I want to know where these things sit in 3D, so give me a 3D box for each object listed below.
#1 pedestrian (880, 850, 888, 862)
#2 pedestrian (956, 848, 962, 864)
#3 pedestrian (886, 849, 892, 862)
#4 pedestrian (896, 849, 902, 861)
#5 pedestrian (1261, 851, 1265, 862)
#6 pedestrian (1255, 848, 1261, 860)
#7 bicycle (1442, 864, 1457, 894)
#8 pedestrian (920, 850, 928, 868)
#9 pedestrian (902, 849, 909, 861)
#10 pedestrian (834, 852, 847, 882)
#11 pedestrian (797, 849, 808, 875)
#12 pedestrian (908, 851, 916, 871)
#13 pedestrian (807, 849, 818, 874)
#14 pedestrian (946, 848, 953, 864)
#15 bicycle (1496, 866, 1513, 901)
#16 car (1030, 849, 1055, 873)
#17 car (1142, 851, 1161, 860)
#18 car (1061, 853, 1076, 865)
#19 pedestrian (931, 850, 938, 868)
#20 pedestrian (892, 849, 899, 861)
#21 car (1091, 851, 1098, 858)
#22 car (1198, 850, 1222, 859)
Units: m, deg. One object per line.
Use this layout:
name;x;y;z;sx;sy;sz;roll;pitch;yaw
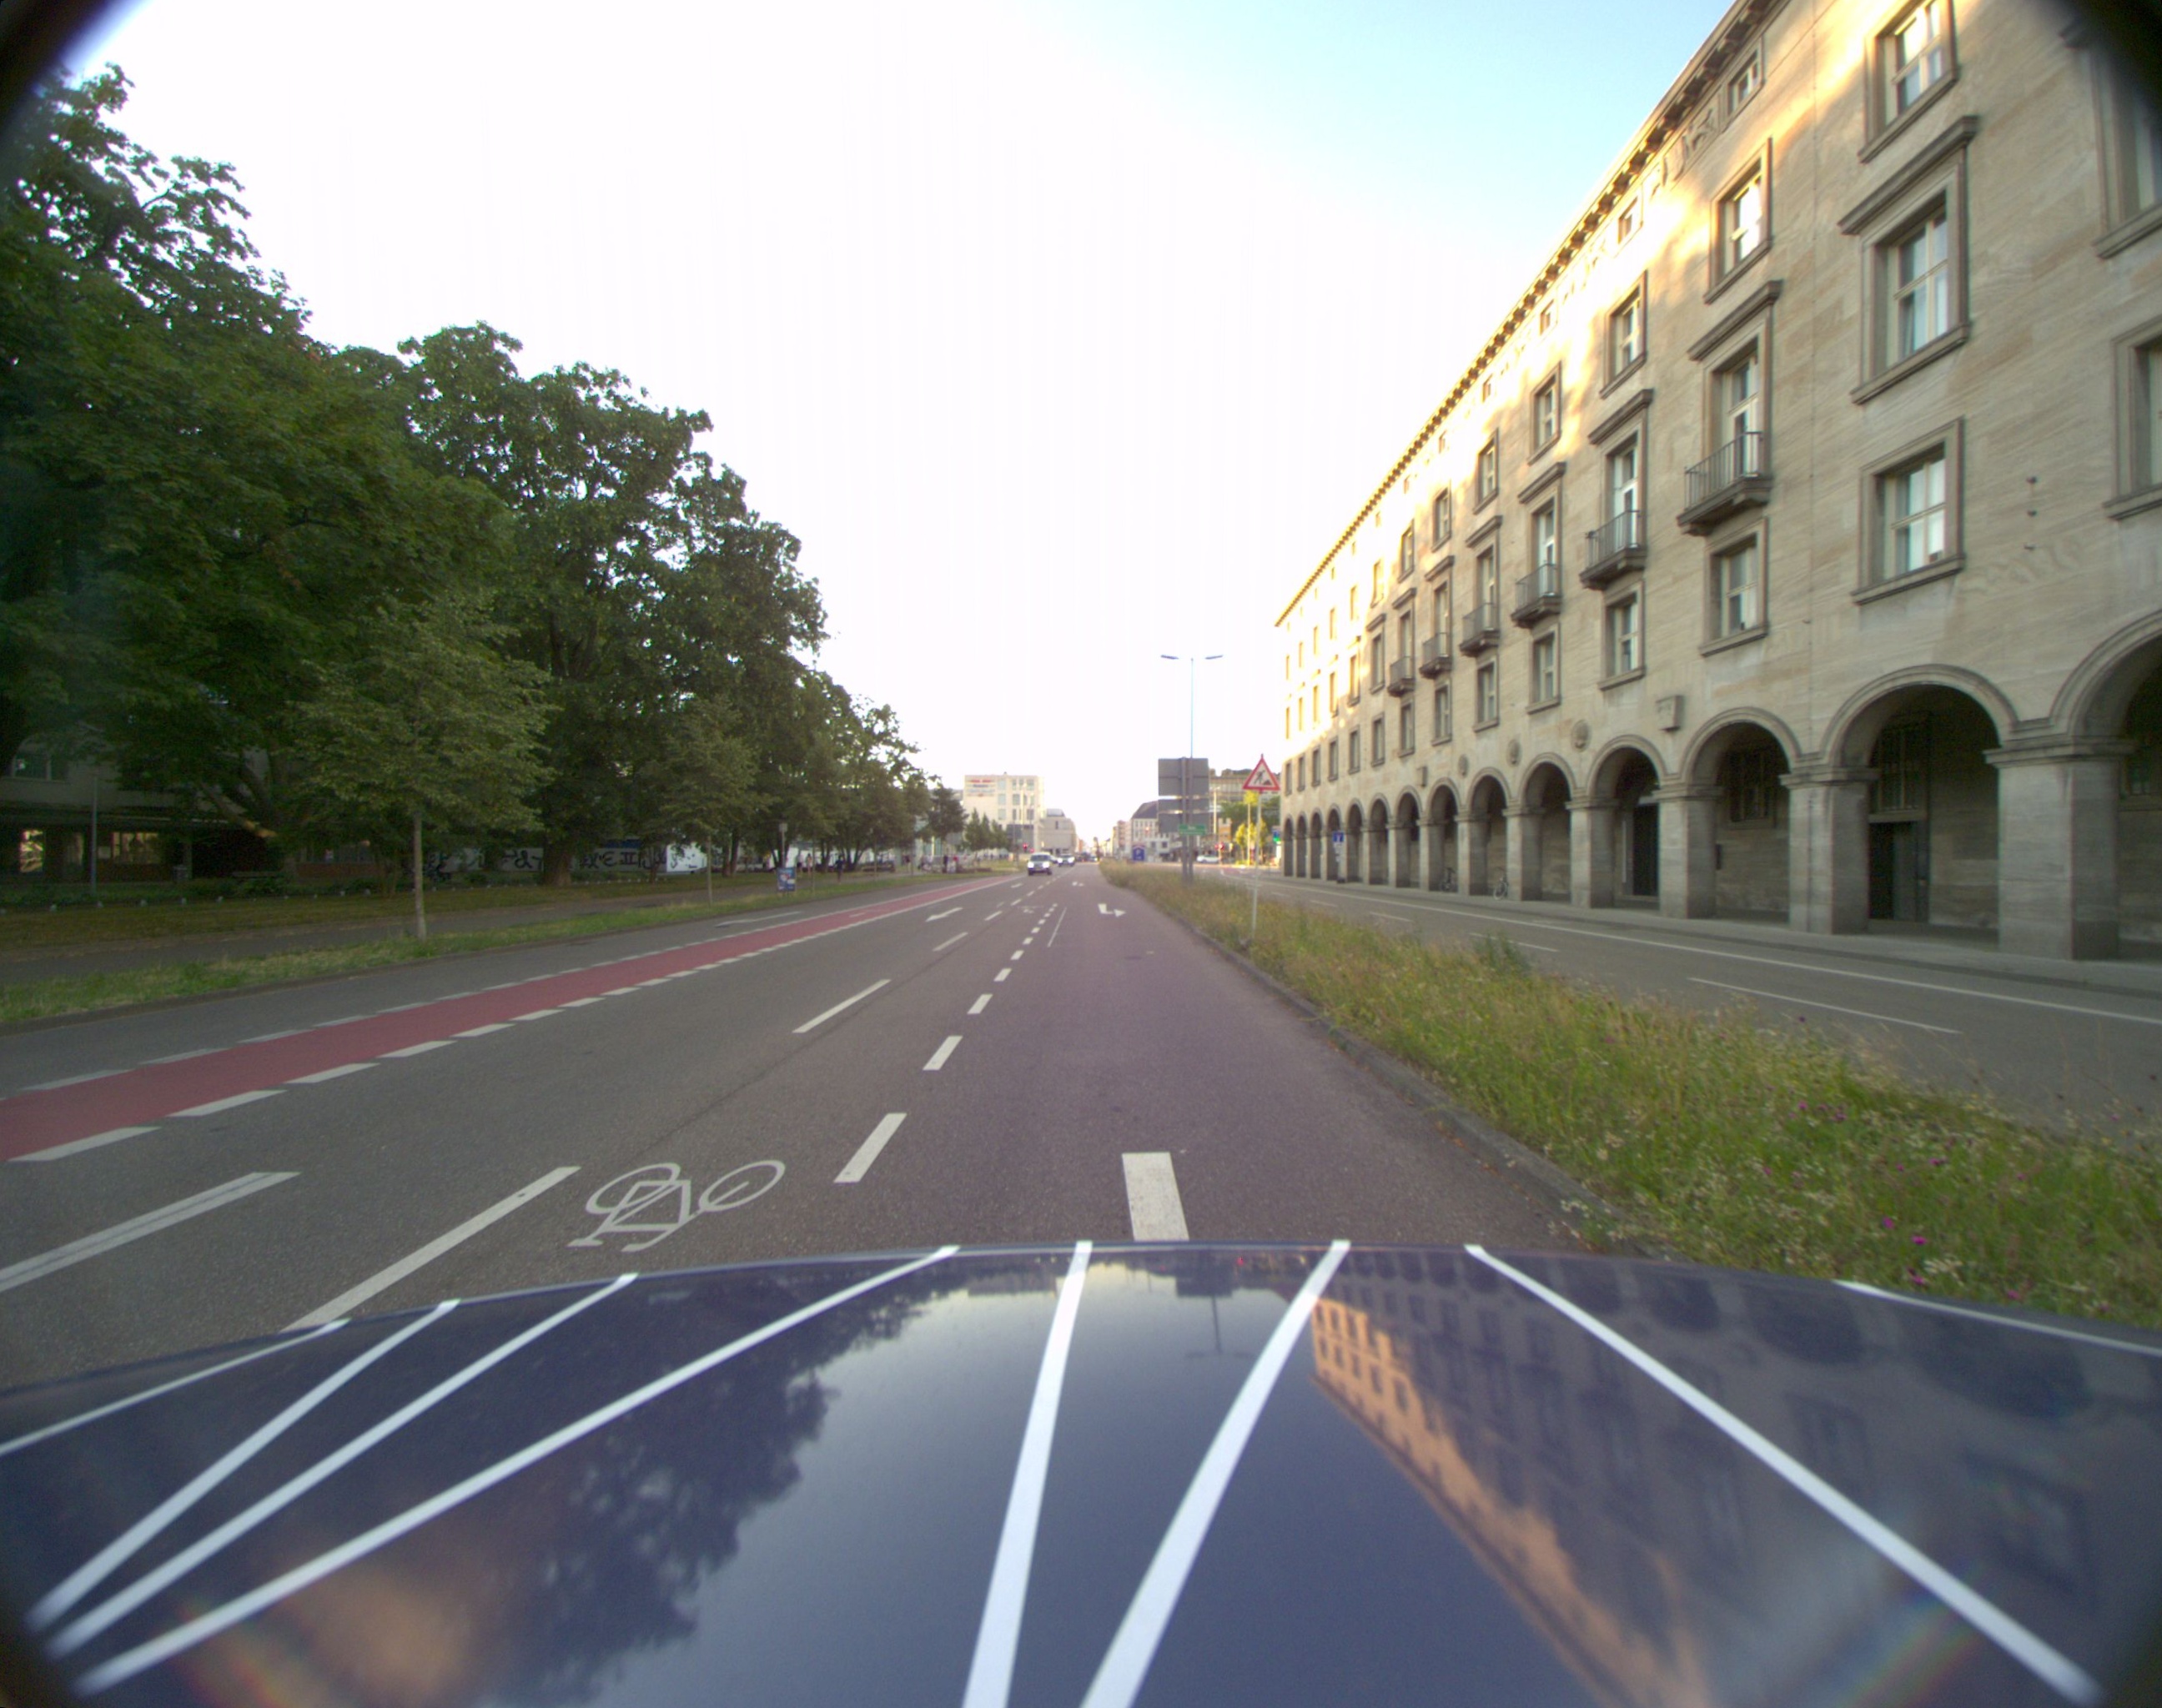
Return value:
pedestrian;-22.039;0.208;85.153;0.728;1.347;0.614;0;1;1
pedestrian;-13.497;0.213;84.070;0.638;1.747;0.506;0;1;1
pedestrian;-21.163;0.168;83.770;0.519;1.347;0.773;0;1;1
pedestrian;-20.129;0.125;83.980;0.519;1.347;0.773;0;1;1
pedestrian;25.313;0.403;105.625;0.526;1.532;0.390;0;1;1
pedestrian;24.618;0.023;105.723;0.638;1.747;0.506;0;1;1
bicycle;15.585;1.040;32.179;0.513;1.172;2.427;0;0;25
pedestrian;-14.920;0.497;72.211;0.519;1.720;0.719;0;1;1
pedestrian;-19.733;0.083;85.642;0.654;1.347;0.505;0;1;1
pedestrian;-13.777;0.725;43.602;0.558;1.729;0.555;0;1;1
pedestrian;-17.222;0.517;46.939;0.500;1.592;0.522;0;1;1
pedestrian;-14.966;0.603;67.317;0.509;1.720;0.719;0;1;1
pedestrian;-17.033;0.452;48.202;0.500;1.592;0.365;0;1;1
pedestrian;-14.597;0.178;84.206;0.638;1.747;0.506;0;1;1
bicycle;15.357;1.048;27.529;0.513;1.115;2.427;0;1;30
car;-3.170;0.546;62.991;1.767;1.877;4.500;0;0;1
car;15.737;0.397;170.579;3.999;2.002;1.999;0;0;-5
car;-1.567;0.630;99.379;1.826;1.612;4.336;0;0;0
pedestrian;-13.926;0.465;71.990;0.509;1.720;0.719;0;1;1
pedestrian;-20.904;0.167;85.486;0.662;1.347;0.559;0;1;1
car;4.377;0.063;245.043;1.998;2.297;5.090;0;0;3
car;24.203;0.102;142.913;4.029;1.599;1.999;0;0;-6
